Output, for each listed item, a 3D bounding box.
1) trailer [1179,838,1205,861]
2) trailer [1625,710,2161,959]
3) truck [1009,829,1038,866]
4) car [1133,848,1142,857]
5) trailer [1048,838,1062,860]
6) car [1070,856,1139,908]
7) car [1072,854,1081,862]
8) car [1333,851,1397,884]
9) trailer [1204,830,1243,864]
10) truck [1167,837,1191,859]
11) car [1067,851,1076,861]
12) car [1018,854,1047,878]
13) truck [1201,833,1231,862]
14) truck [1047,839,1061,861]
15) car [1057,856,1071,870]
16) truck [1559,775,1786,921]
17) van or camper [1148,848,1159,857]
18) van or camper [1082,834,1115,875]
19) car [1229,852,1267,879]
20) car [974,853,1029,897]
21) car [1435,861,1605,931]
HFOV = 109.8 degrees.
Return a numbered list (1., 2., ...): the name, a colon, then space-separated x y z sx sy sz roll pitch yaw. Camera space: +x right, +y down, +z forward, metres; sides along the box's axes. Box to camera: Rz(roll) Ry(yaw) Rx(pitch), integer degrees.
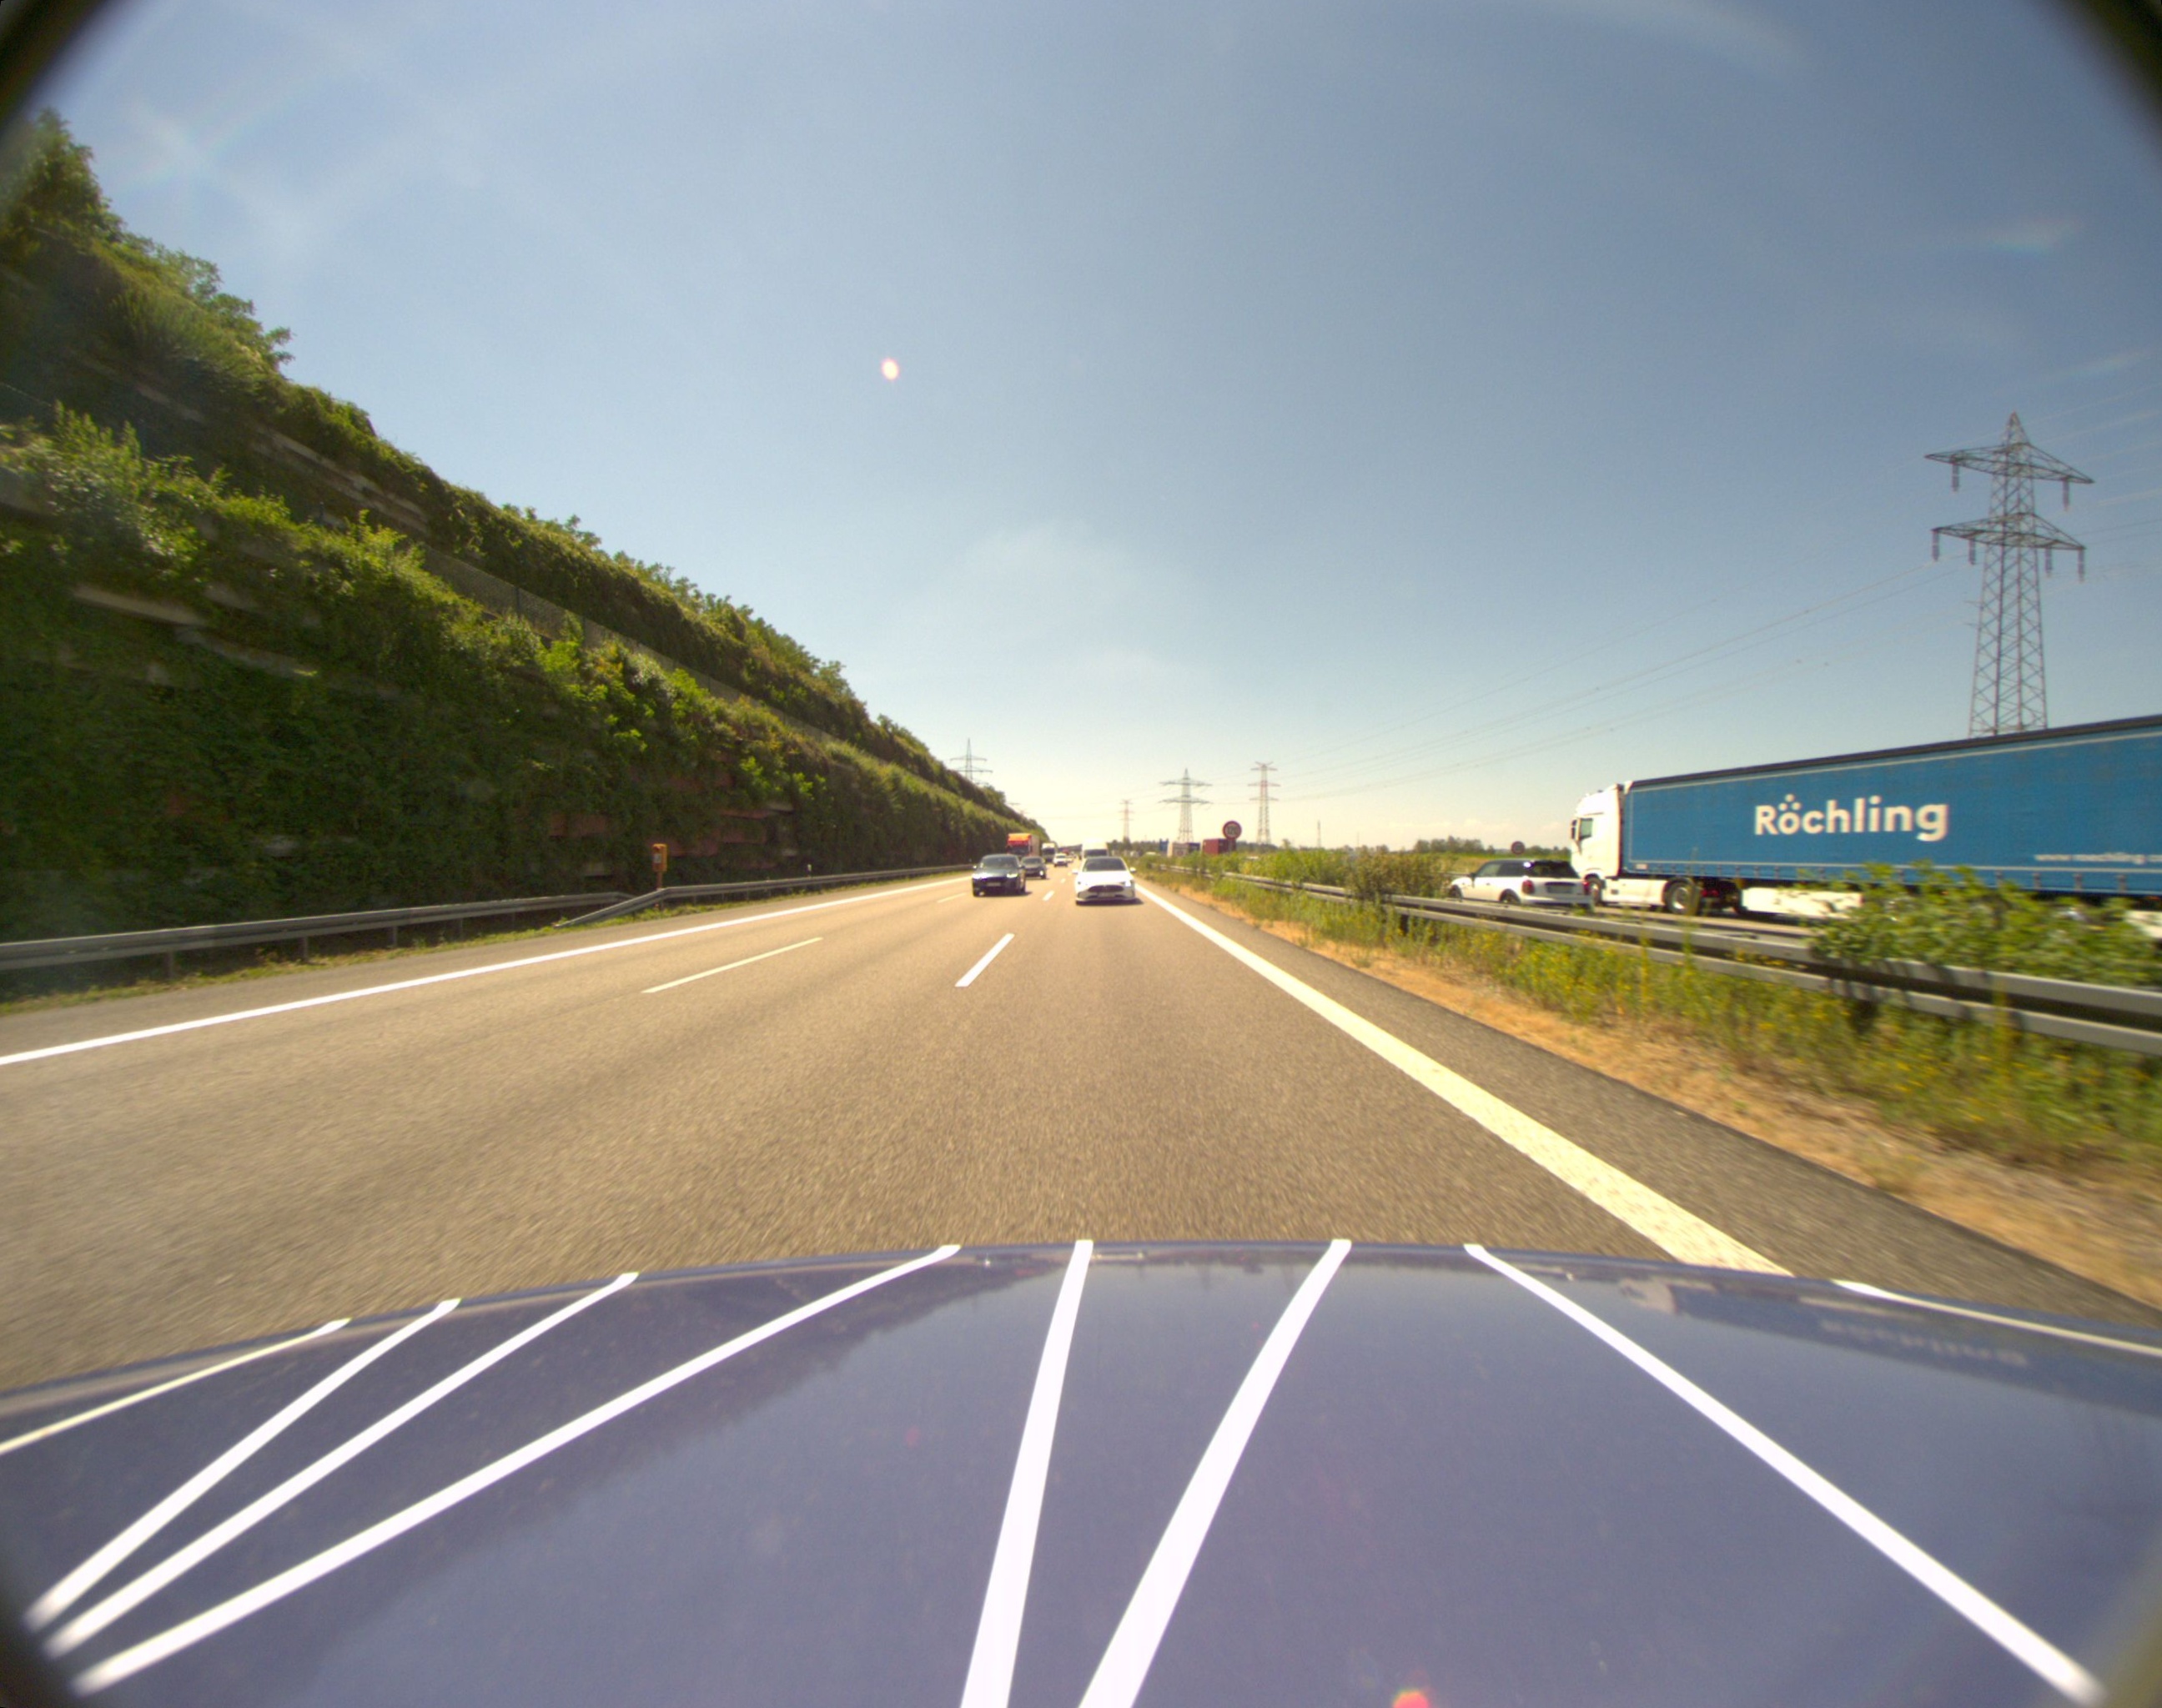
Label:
1. trailer: 20.101 -0.871 138.506 2.857 3.954 14.142 0 0 0
2. trailer: 18.350 -0.331 16.881 2.700 3.914 13.908 0 0 1
3. truck: -6.414 -0.691 85.246 2.624 3.969 6.526 -1 0 0
4. car: 15.750 -0.472 213.364 2.110 2.615 7.467 1 0 1
5. trailer: -5.274 -0.987 158.099 2.521 4.187 17.025 -1 0 -1
6. car: 0.685 0.817 24.378 1.999 1.474 4.108 -1 0 0
7. car: -0.828 0.797 145.979 1.780 1.520 4.000 0 0 1
8. car: 14.921 0.660 40.134 1.757 1.623 4.608 0 0 1
9. trailer: 19.653 -0.943 105.817 3.201 4.281 12.270 -2 0 1
10. truck: 15.679 -0.931 121.794 2.944 3.393 9.367 0 0 2
11. car: -1.838 0.360 148.434 1.782 1.717 3.750 -2 1 1
12. car: -3.231 0.776 51.242 1.753 1.516 3.995 -1 0 0
13. truck: 19.814 -0.897 111.701 3.221 4.134 6.438 0 0 0
14. truck: -5.218 -0.856 149.502 2.514 4.195 6.255 -1 1 0
15. car: -2.350 1.214 103.179 1.784 1.783 3.999 -1 0 0
16. truck: 18.302 -0.176 24.081 2.703 4.045 5.801 0 0 0
17. van or camper: 20.289 -0.346 213.654 2.449 2.503 6.483 0 0 0
18. van or camper: 1.166 0.052 54.788 2.102 2.752 6.756 -1 0 0
19. car: 10.423 0.713 47.667 1.475 1.482 3.683 6 0 1
20. car: -3.197 0.804 31.247 1.798 1.643 4.137 -1 0 0
21. car: 10.207 0.900 18.099 1.635 1.391 4.330 0 0 1
